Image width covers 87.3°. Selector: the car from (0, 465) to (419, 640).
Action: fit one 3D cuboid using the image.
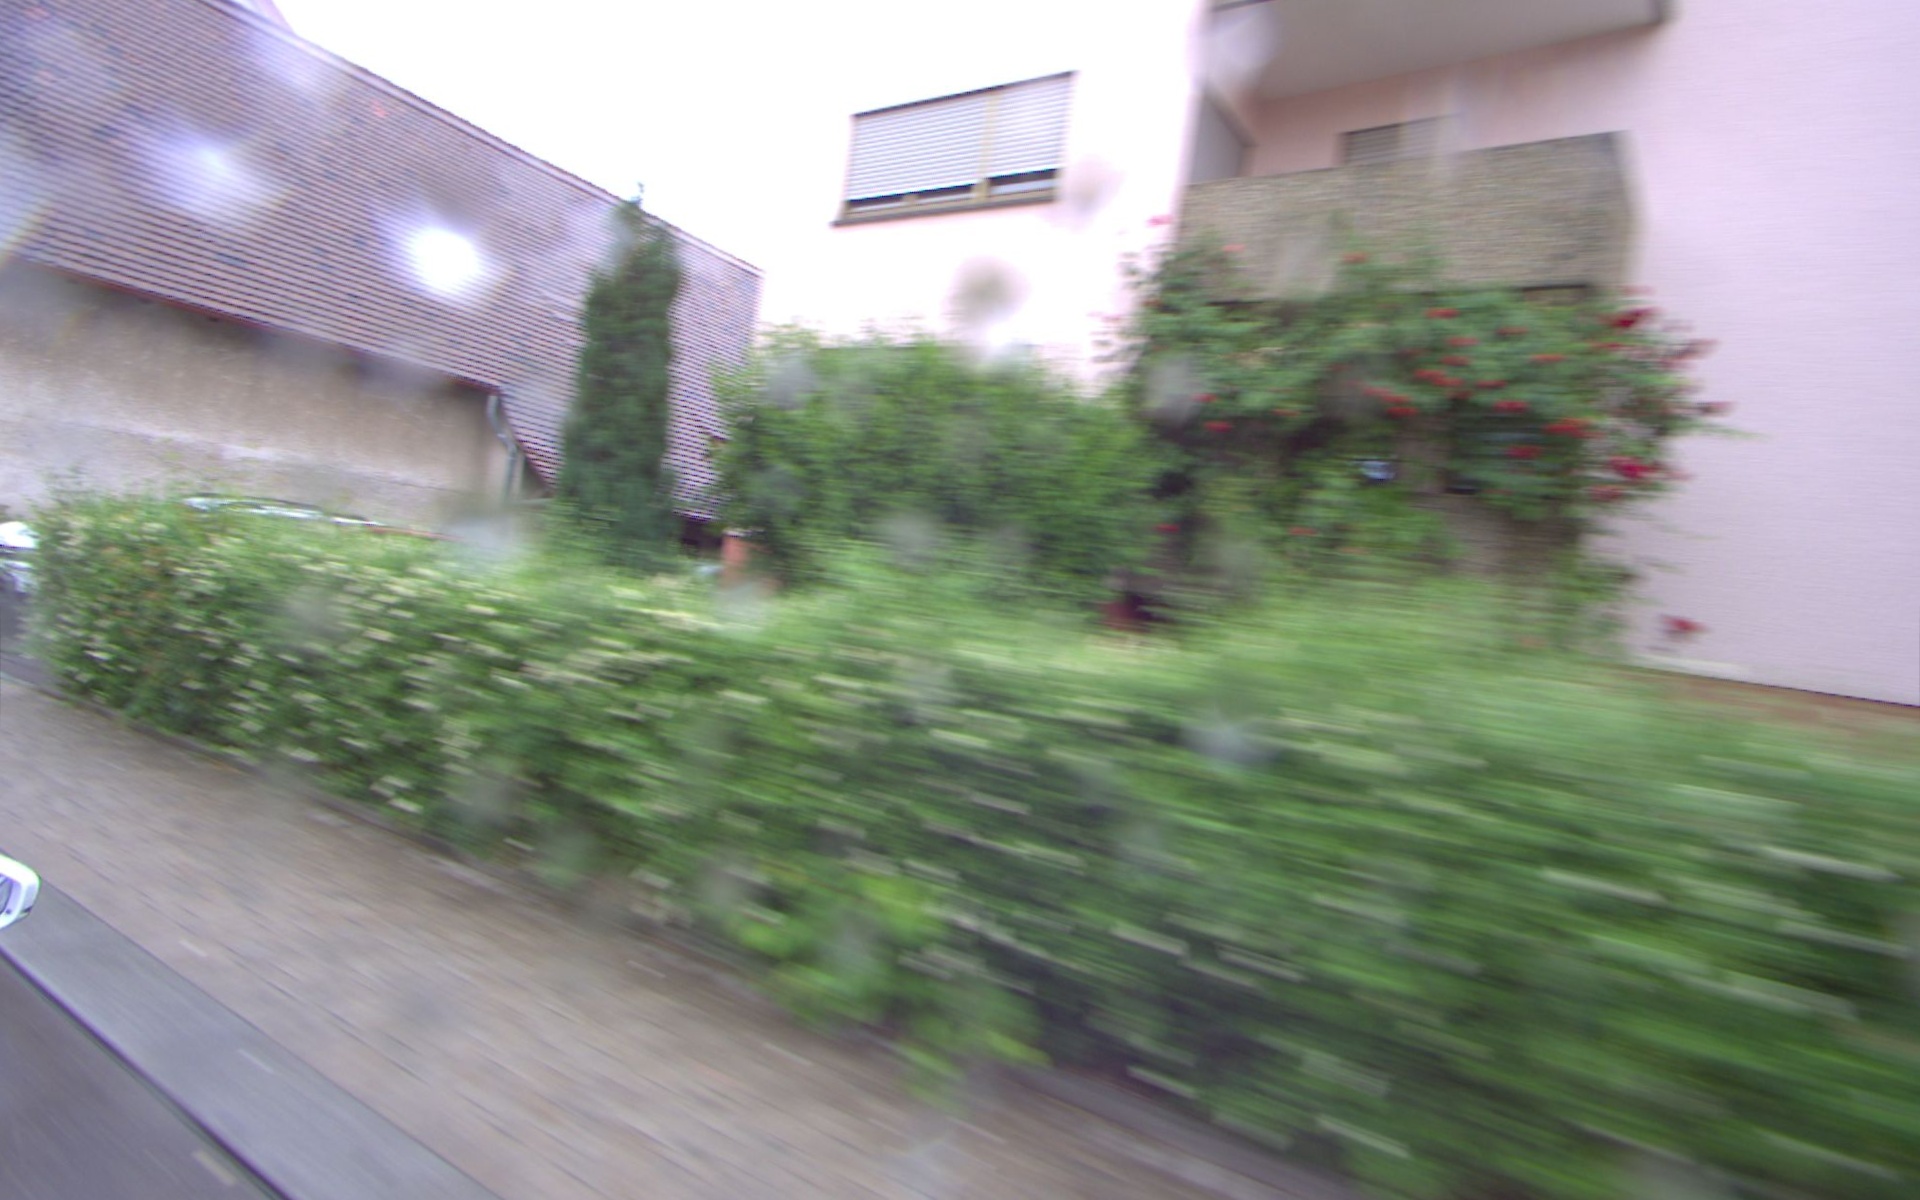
[{"bbox_3d":[-9.238,-0.493,12.230,1.872,1.670,4.217,7,1,34],"label":"car"}]
